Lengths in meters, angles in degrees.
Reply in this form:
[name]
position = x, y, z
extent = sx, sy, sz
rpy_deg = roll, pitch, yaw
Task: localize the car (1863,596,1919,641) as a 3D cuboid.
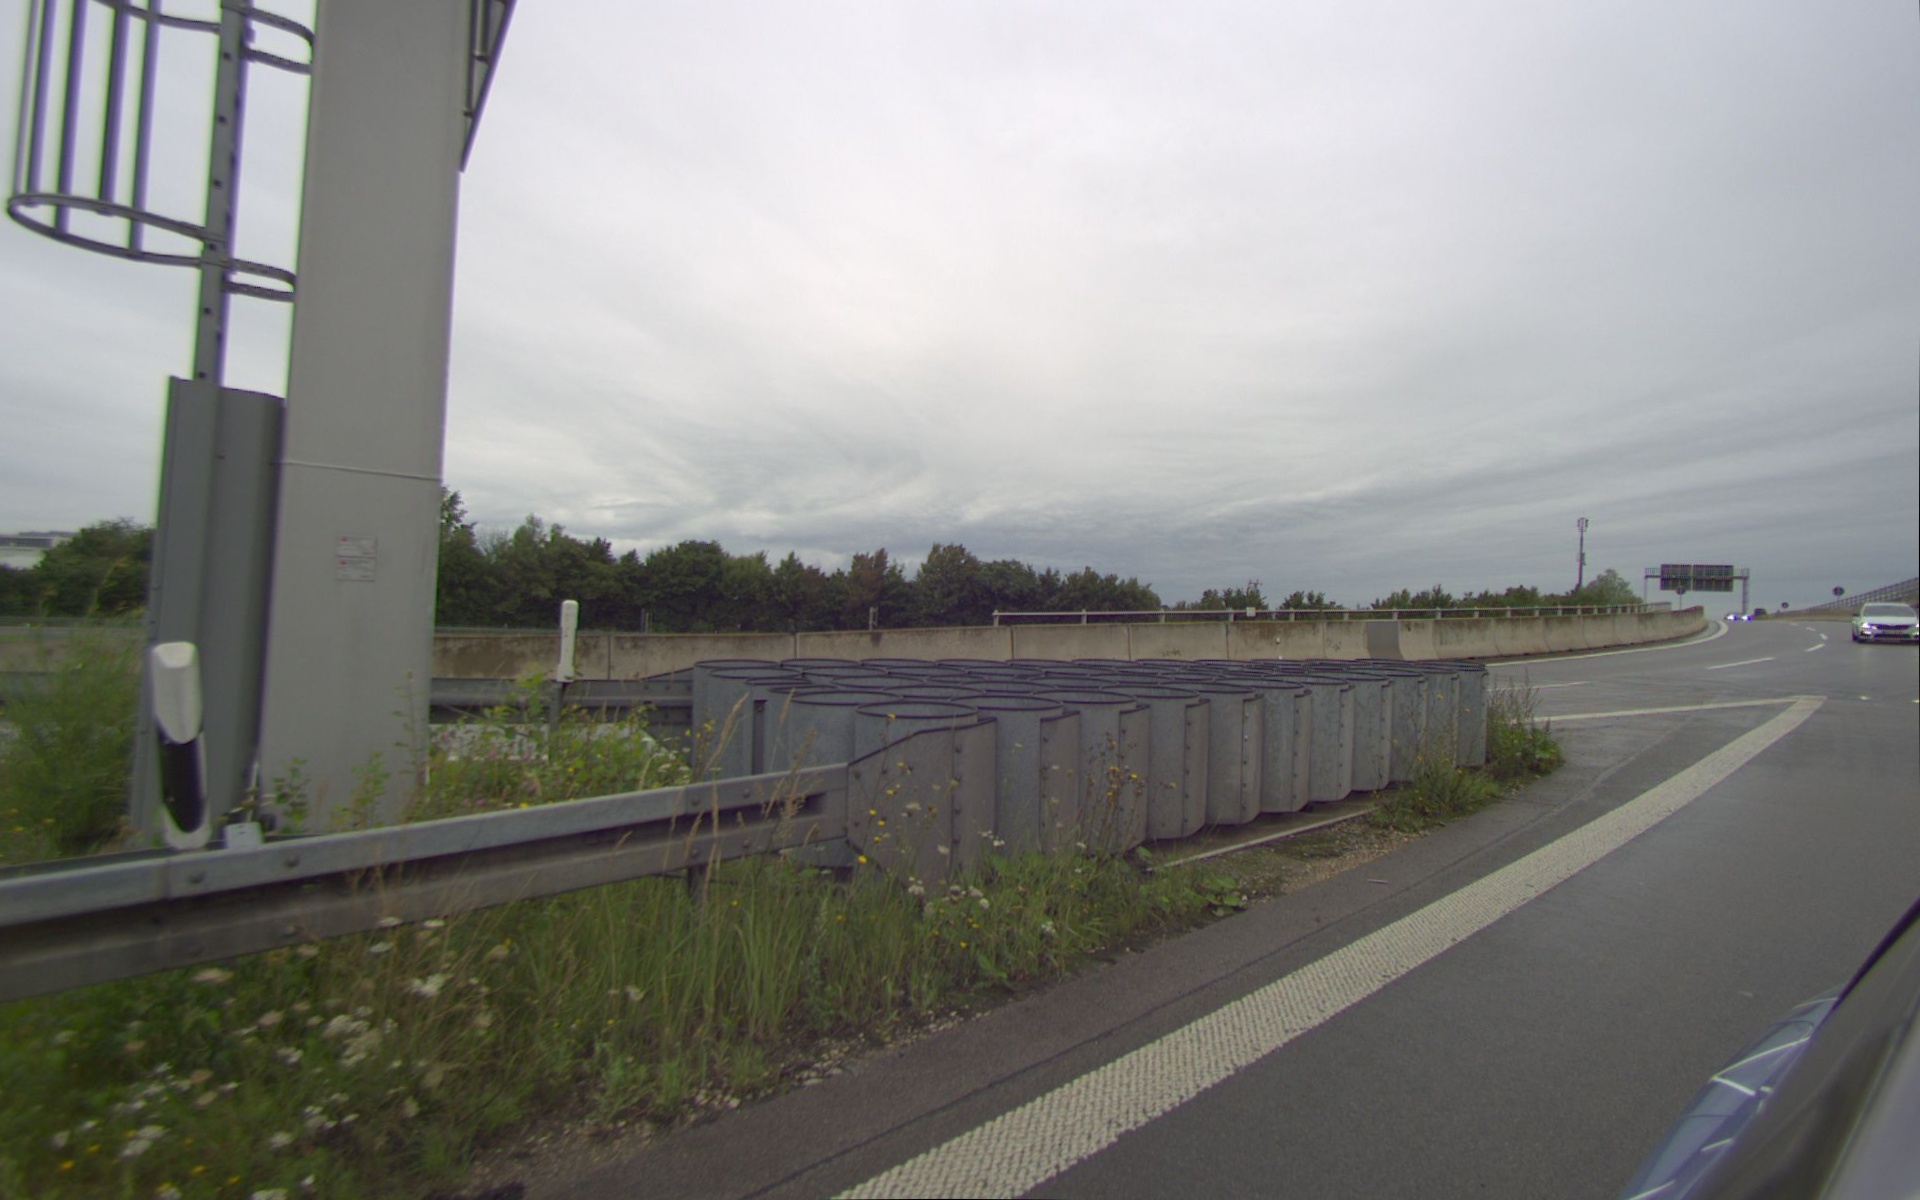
[car]
position = 33.760, 0.673, 36.234
extent = 1.908, 1.465, 4.490
rpy_deg = 3, 1, 40
